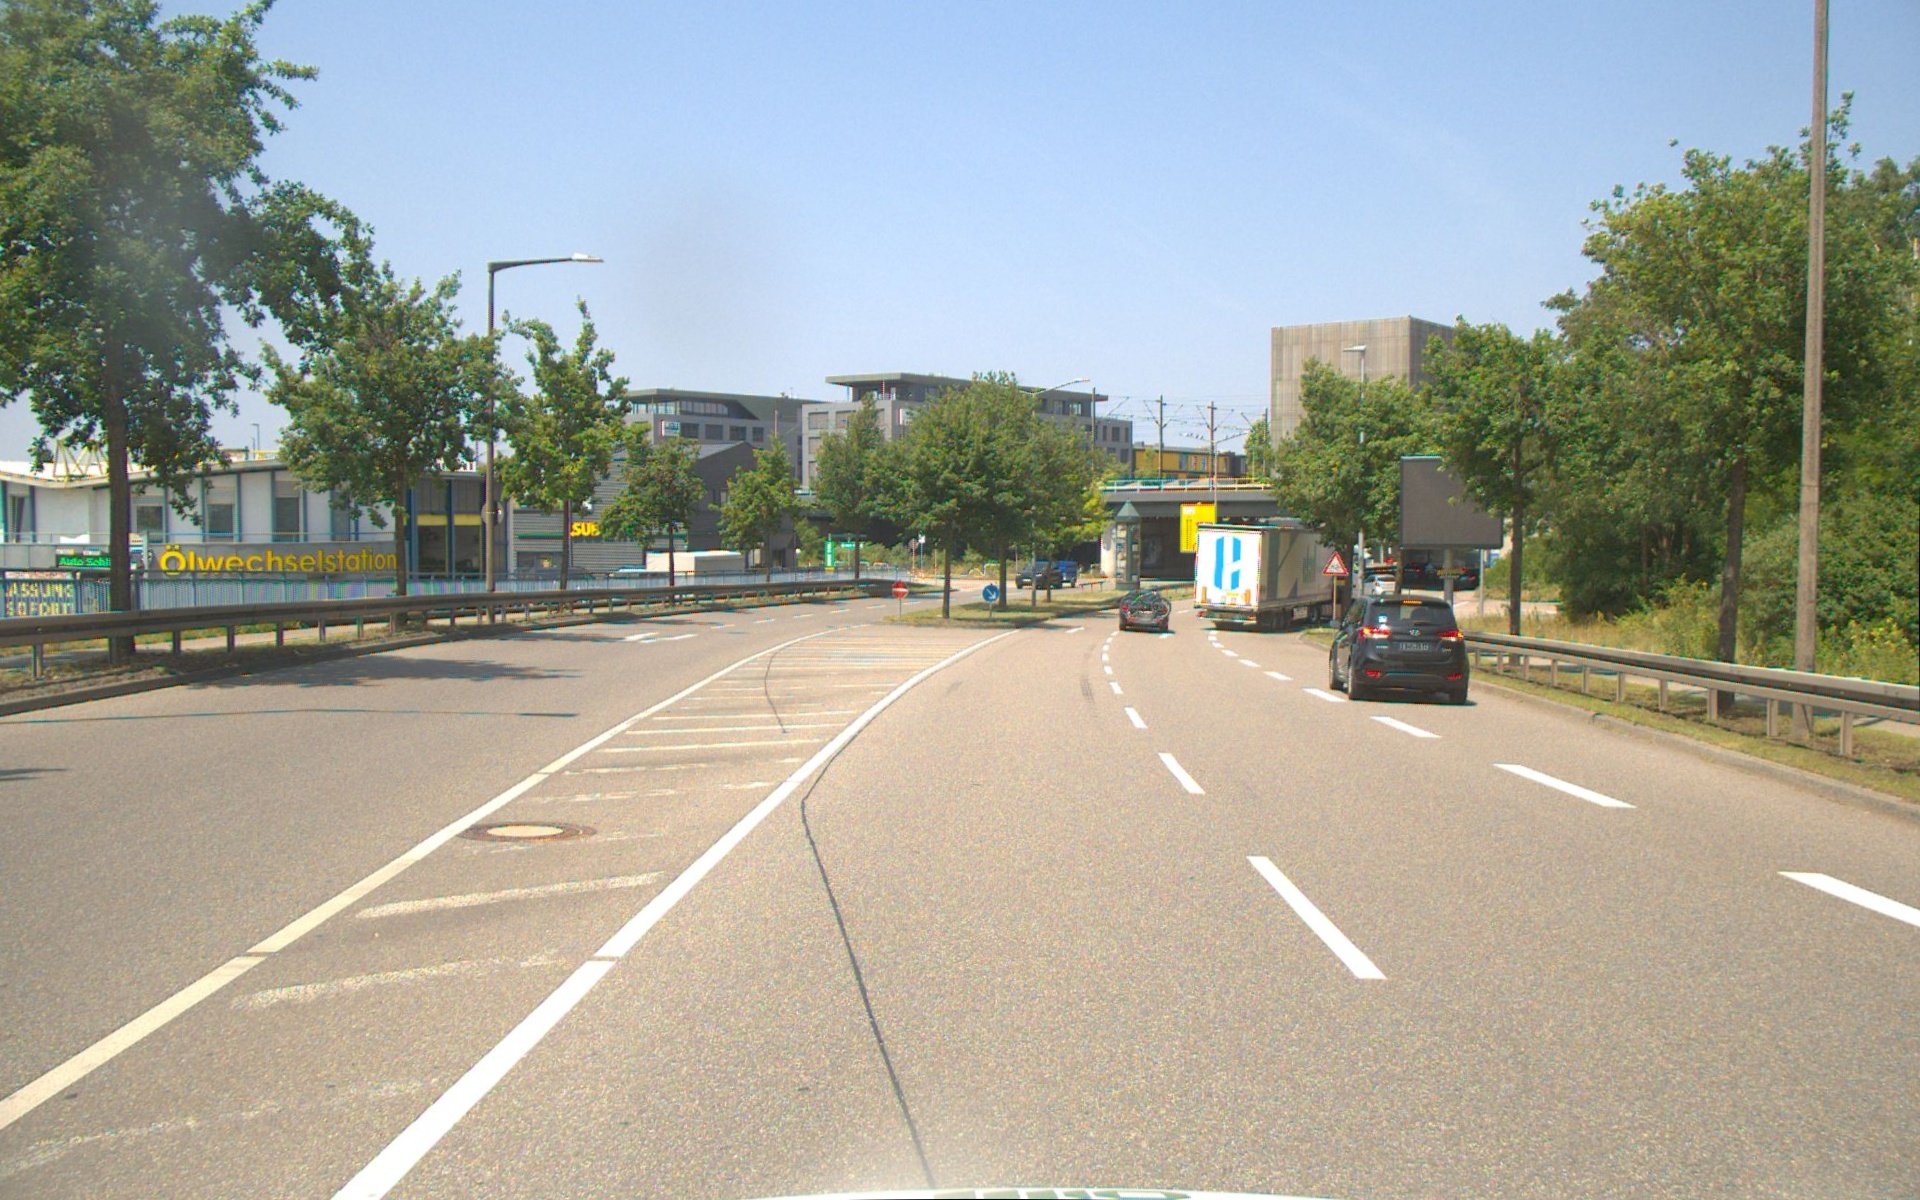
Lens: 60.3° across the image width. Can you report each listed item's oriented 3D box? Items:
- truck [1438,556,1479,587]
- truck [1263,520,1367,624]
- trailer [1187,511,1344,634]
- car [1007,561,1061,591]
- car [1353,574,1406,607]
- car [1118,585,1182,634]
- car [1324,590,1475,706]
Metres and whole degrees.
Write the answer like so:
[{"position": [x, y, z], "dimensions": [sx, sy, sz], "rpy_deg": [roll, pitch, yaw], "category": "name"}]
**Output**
[{"position": [42.049, -2.415, 139.389], "dimensions": [2.034, 2.582, 3.982], "rpy_deg": [1, 1, 38], "category": "truck"}, {"position": [16.516, -1.321, 76.748], "dimensions": [3.017, 4.443, 6.072], "rpy_deg": [4, 3, 27], "category": "truck"}, {"position": [13.074, -1.166, 69.252], "dimensions": [3.017, 4.443, 14.770], "rpy_deg": [4, 3, 23], "category": "trailer"}, {"position": [4.658, -1.504, 103.887], "dimensions": [1.876, 1.681, 4.406], "rpy_deg": [-4, -1, 23], "category": "car"}, {"position": [26.642, -0.628, 105.169], "dimensions": [1.955, 2.049, 3.995], "rpy_deg": [1, 0, -6], "category": "car"}, {"position": [6.869, 0.325, 59.429], "dimensions": [1.915, 1.662, 4.284], "rpy_deg": [0, 1, 11], "category": "car"}, {"position": [6.873, 0.686, 26.232], "dimensions": [1.729, 1.627, 4.081], "rpy_deg": [1, 1, 7], "category": "car"}]
